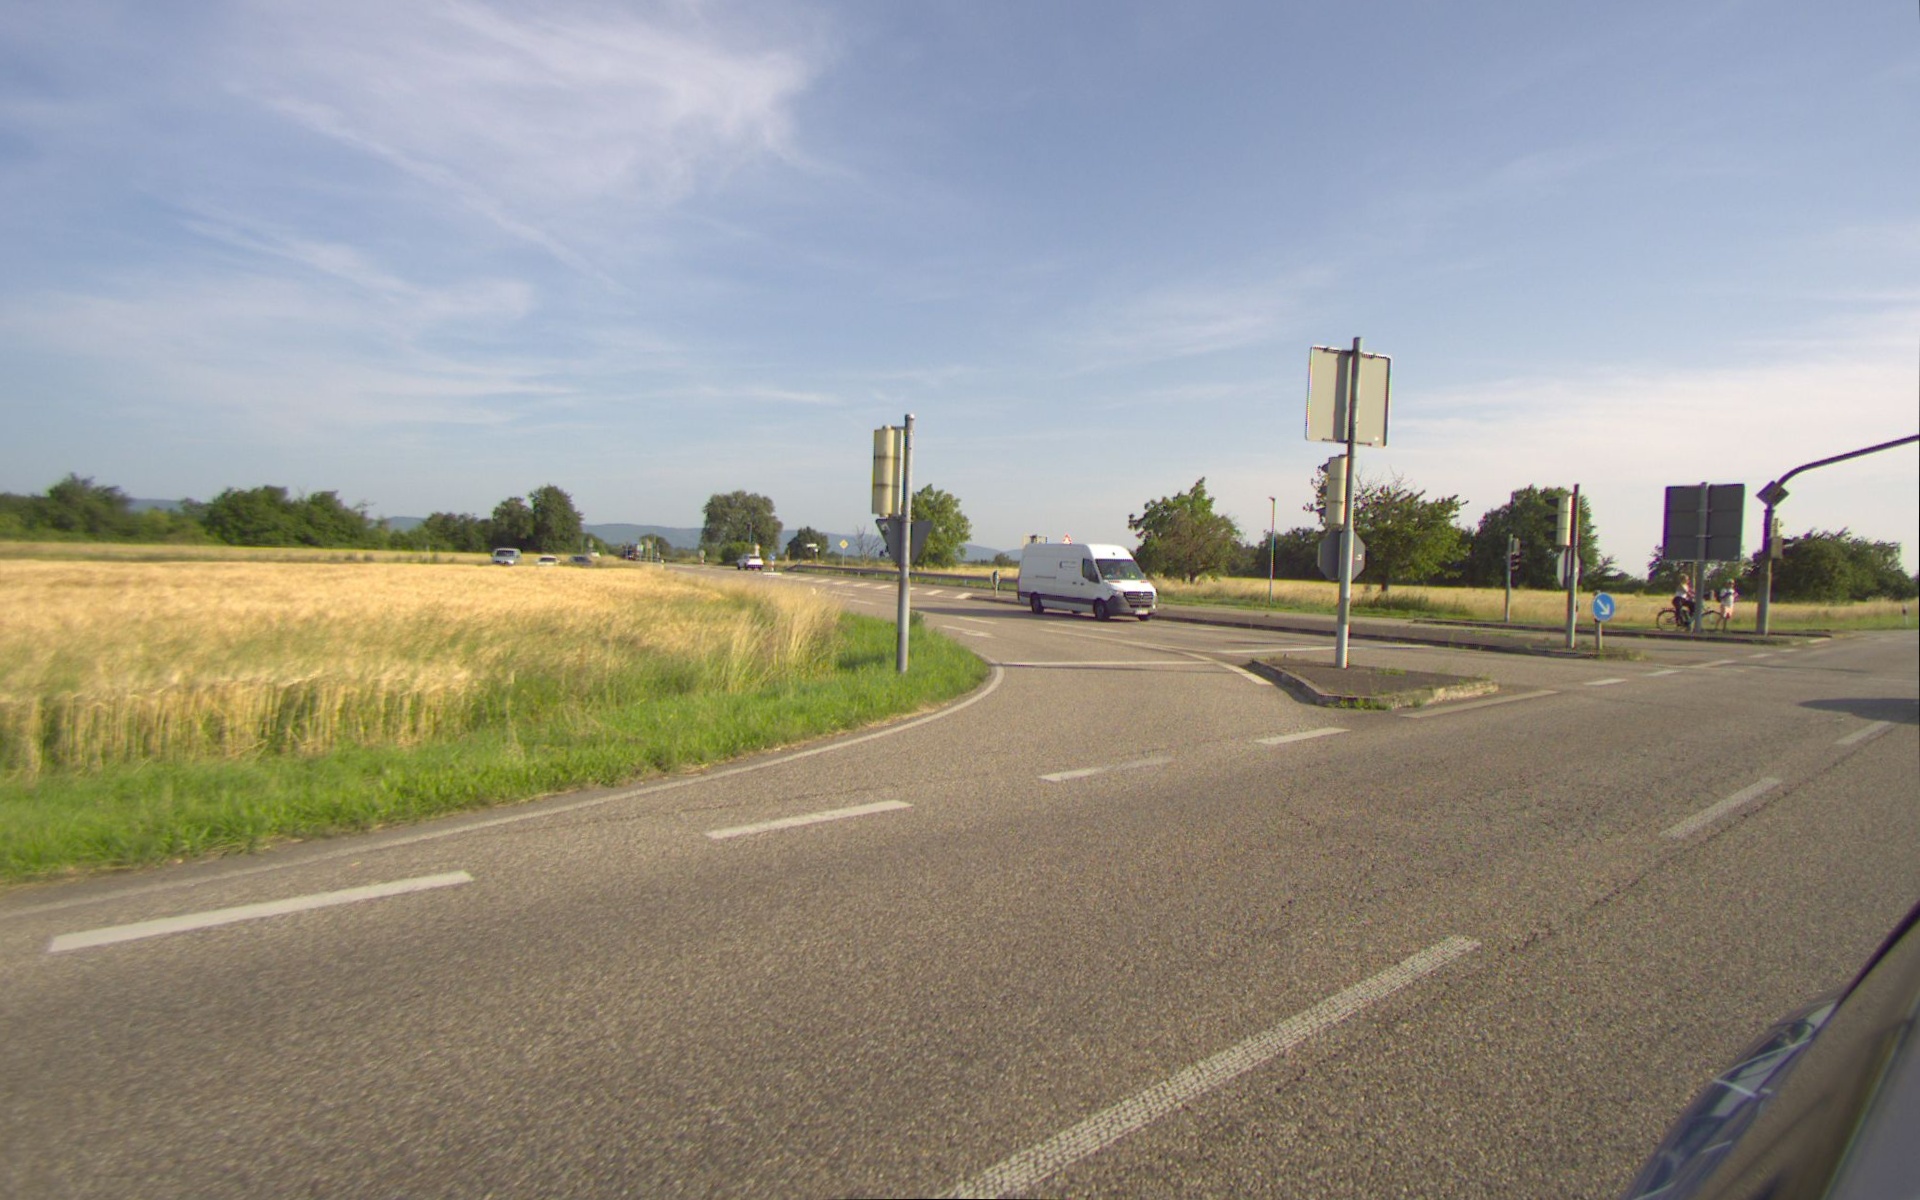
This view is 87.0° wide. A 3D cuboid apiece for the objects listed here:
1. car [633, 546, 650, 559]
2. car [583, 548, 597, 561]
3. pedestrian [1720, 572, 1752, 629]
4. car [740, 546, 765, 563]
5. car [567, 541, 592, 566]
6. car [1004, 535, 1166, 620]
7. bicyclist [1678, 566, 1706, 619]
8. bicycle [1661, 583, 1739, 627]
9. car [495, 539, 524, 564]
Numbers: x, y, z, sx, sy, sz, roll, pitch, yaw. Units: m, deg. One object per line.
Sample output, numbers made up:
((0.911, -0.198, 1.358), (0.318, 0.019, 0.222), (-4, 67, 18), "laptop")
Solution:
((-46.041, -6.798, 146.230), (1.728, 1.738, 3.770), (-1, 1, -28), "car")
((-58.600, -7.200, 160.259), (1.958, 2.039, 4.008), (0, 1, -23), "car")
((24.478, -0.005, 31.916), (0.586, 1.773, 0.624), (0, 1, -30), "pedestrian")
((-21.012, -4.598, 102.439), (1.698, 1.682, 4.008), (0, 1, -22), "car")
((-32.445, -3.935, 86.222), (1.808, 1.972, 4.008), (0, 1, -24), "car")
((4.208, -0.892, 35.847), (2.049, 2.701, 7.230), (0, 3, -26), "car")
((22.579, -0.236, 31.200), (0.494, 1.632, 0.560), (0, 1, -34), "bicyclist")
((22.675, 0.143, 31.026), (0.519, 1.305, 1.859), (0, 1, -37), "bicycle")
((-36.893, -3.938, 82.982), (1.808, 1.972, 4.009), (0, 1, -19), "car")
